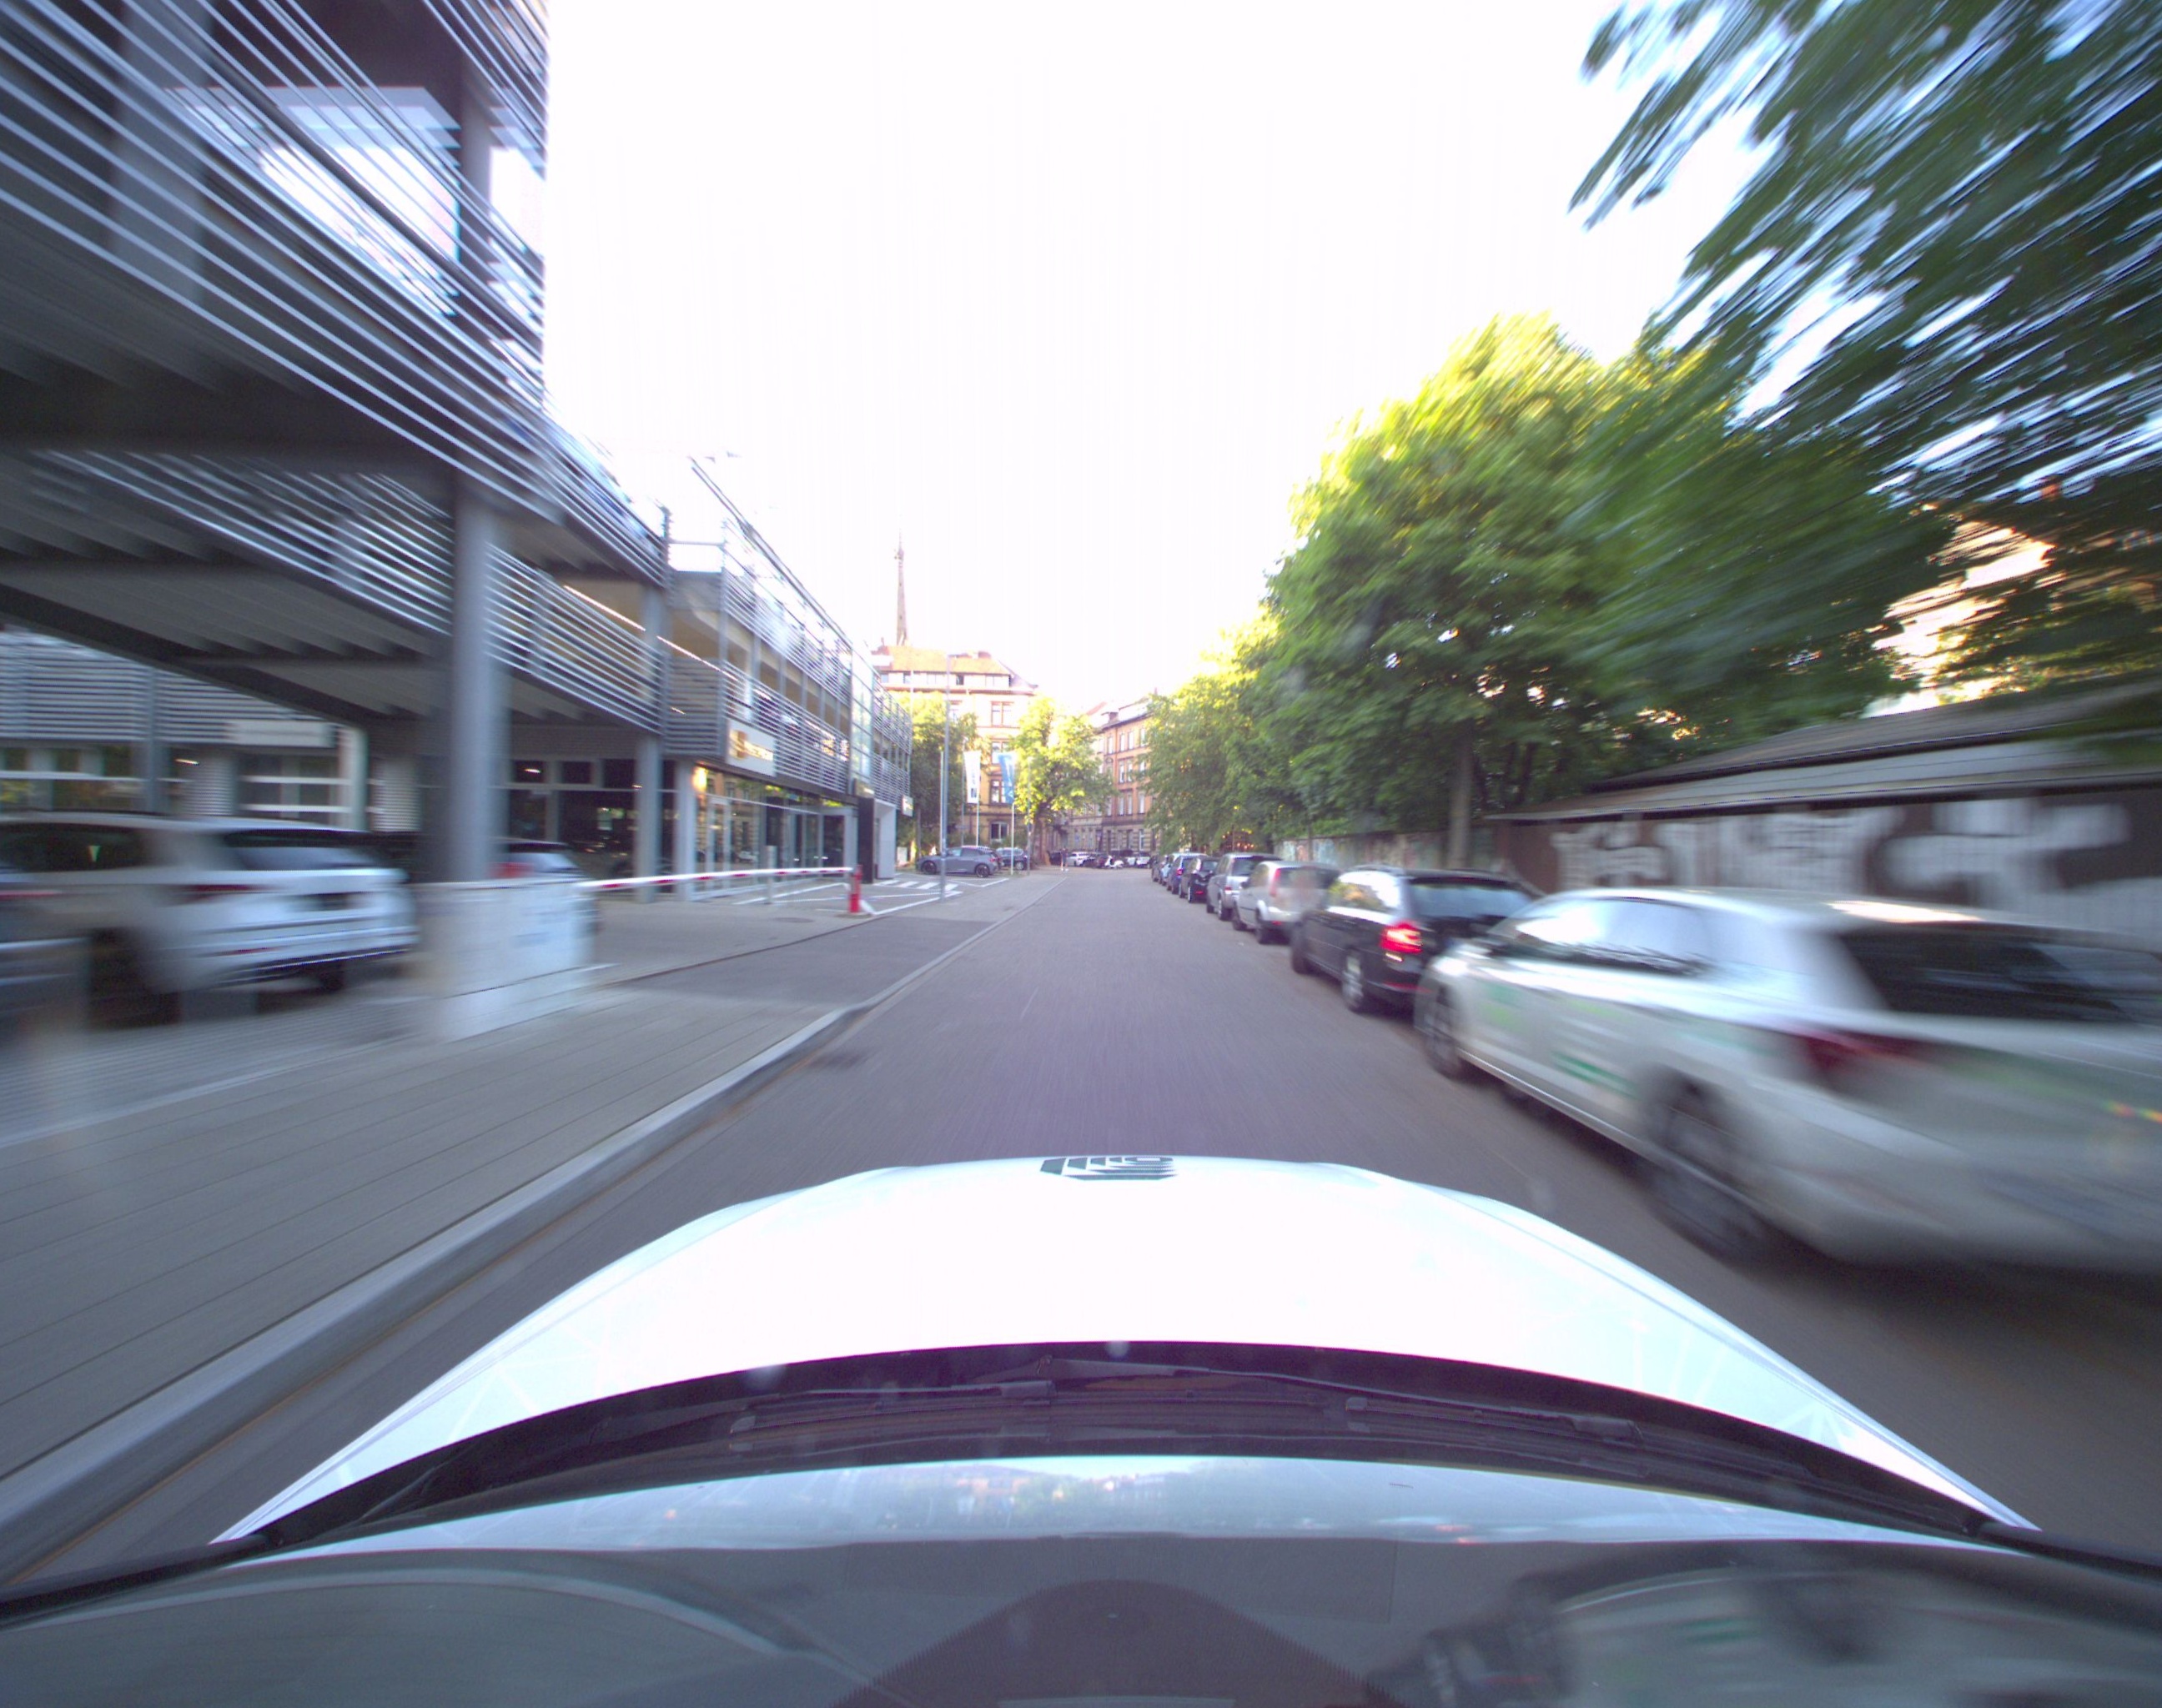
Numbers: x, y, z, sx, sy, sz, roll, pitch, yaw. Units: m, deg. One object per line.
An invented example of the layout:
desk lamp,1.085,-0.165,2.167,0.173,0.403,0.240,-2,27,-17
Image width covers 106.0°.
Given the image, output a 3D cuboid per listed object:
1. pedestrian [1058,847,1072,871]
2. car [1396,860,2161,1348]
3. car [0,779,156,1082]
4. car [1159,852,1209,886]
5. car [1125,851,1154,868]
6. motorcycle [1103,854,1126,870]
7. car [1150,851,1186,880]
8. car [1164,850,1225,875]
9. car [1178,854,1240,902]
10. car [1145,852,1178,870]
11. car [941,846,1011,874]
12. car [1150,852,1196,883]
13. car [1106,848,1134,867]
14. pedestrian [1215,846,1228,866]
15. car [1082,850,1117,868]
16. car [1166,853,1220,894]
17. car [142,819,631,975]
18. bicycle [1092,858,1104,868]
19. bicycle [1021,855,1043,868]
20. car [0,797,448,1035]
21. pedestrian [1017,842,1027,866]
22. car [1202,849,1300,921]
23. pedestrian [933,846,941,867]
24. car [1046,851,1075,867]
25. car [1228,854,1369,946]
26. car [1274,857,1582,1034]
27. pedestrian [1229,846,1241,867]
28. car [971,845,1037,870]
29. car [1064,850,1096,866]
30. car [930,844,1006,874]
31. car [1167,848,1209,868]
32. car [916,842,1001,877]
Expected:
pedestrian,-1.176,0.364,60.299,0.737,1.804,1.115,0,1,-18
car,3.382,0.821,4.603,1.752,1.442,4.008,1,1,2
car,-8.044,0.406,4.391,4.070,1.683,1.862,1,1,2
car,4.618,0.636,36.959,1.690,1.477,3.557,1,0,-2
car,5.575,0.521,78.011,1.681,1.525,2.747,1,1,-22
motorcycle,2.853,0.654,69.784,1.931,1.340,0.575,1,1,-9
car,4.940,0.605,46.446,1.689,1.571,3.972,1,0,1
car,7.441,0.542,53.200,3.994,1.466,1.858,1,1,-45
car,4.246,0.746,27.464,1.591,1.477,3.775,1,0,2
car,7.360,0.615,74.517,1.681,1.525,3.220,0,1,-22
car,-6.446,0.364,50.463,4.035,1.475,1.919,3,1,-2
car,4.633,0.666,41.415,1.691,1.477,4.208,1,0,-3
car,3.918,0.371,81.597,1.681,1.782,2.993,1,1,-22
pedestrian,12.493,0.195,72.379,0.843,1.804,0.771,0,1,-19
car,1.626,0.412,73.087,1.661,1.431,3.961,1,1,-22
car,4.336,0.716,32.092,1.688,1.477,4.119,1,0,2
car,-7.760,0.469,9.446,3.974,1.586,1.859,1,-1,0
bicycle,1.429,0.767,67.702,0.421,0.822,1.470,1,1,24
bicycle,-3.903,0.567,64.509,1.678,1.028,0.442,0,1,-23
car,-8.042,0.409,6.809,4.063,1.683,1.862,1,1,2
pedestrian,-4.720,-0.002,65.285,0.813,1.852,0.802,1,1,-3
car,4.152,0.702,20.442,1.752,1.604,3.875,1,0,2
pedestrian,-11.390,0.162,64.407,0.541,1.634,0.448,1,1,-3
car,-2.056,0.530,82.087,1.661,1.431,3.868,1,1,-22
car,3.956,0.762,15.456,1.752,1.441,3.876,1,1,2
car,3.539,0.801,9.281,1.752,1.454,4.394,1,1,2
pedestrian,13.294,0.245,70.315,0.774,1.804,0.839,0,1,-13
car,-5.823,0.272,61.922,4.820,1.732,1.918,1,1,-5
car,-0.127,0.367,77.576,1.660,1.431,4.139,1,1,-20
car,-6.366,0.275,46.257,4.054,1.618,1.765,1,1,-1
car,9.168,0.340,69.934,1.922,1.525,3.868,1,2,-22
car,-6.400,0.292,43.013,4.116,1.617,1.913,3,1,-1
